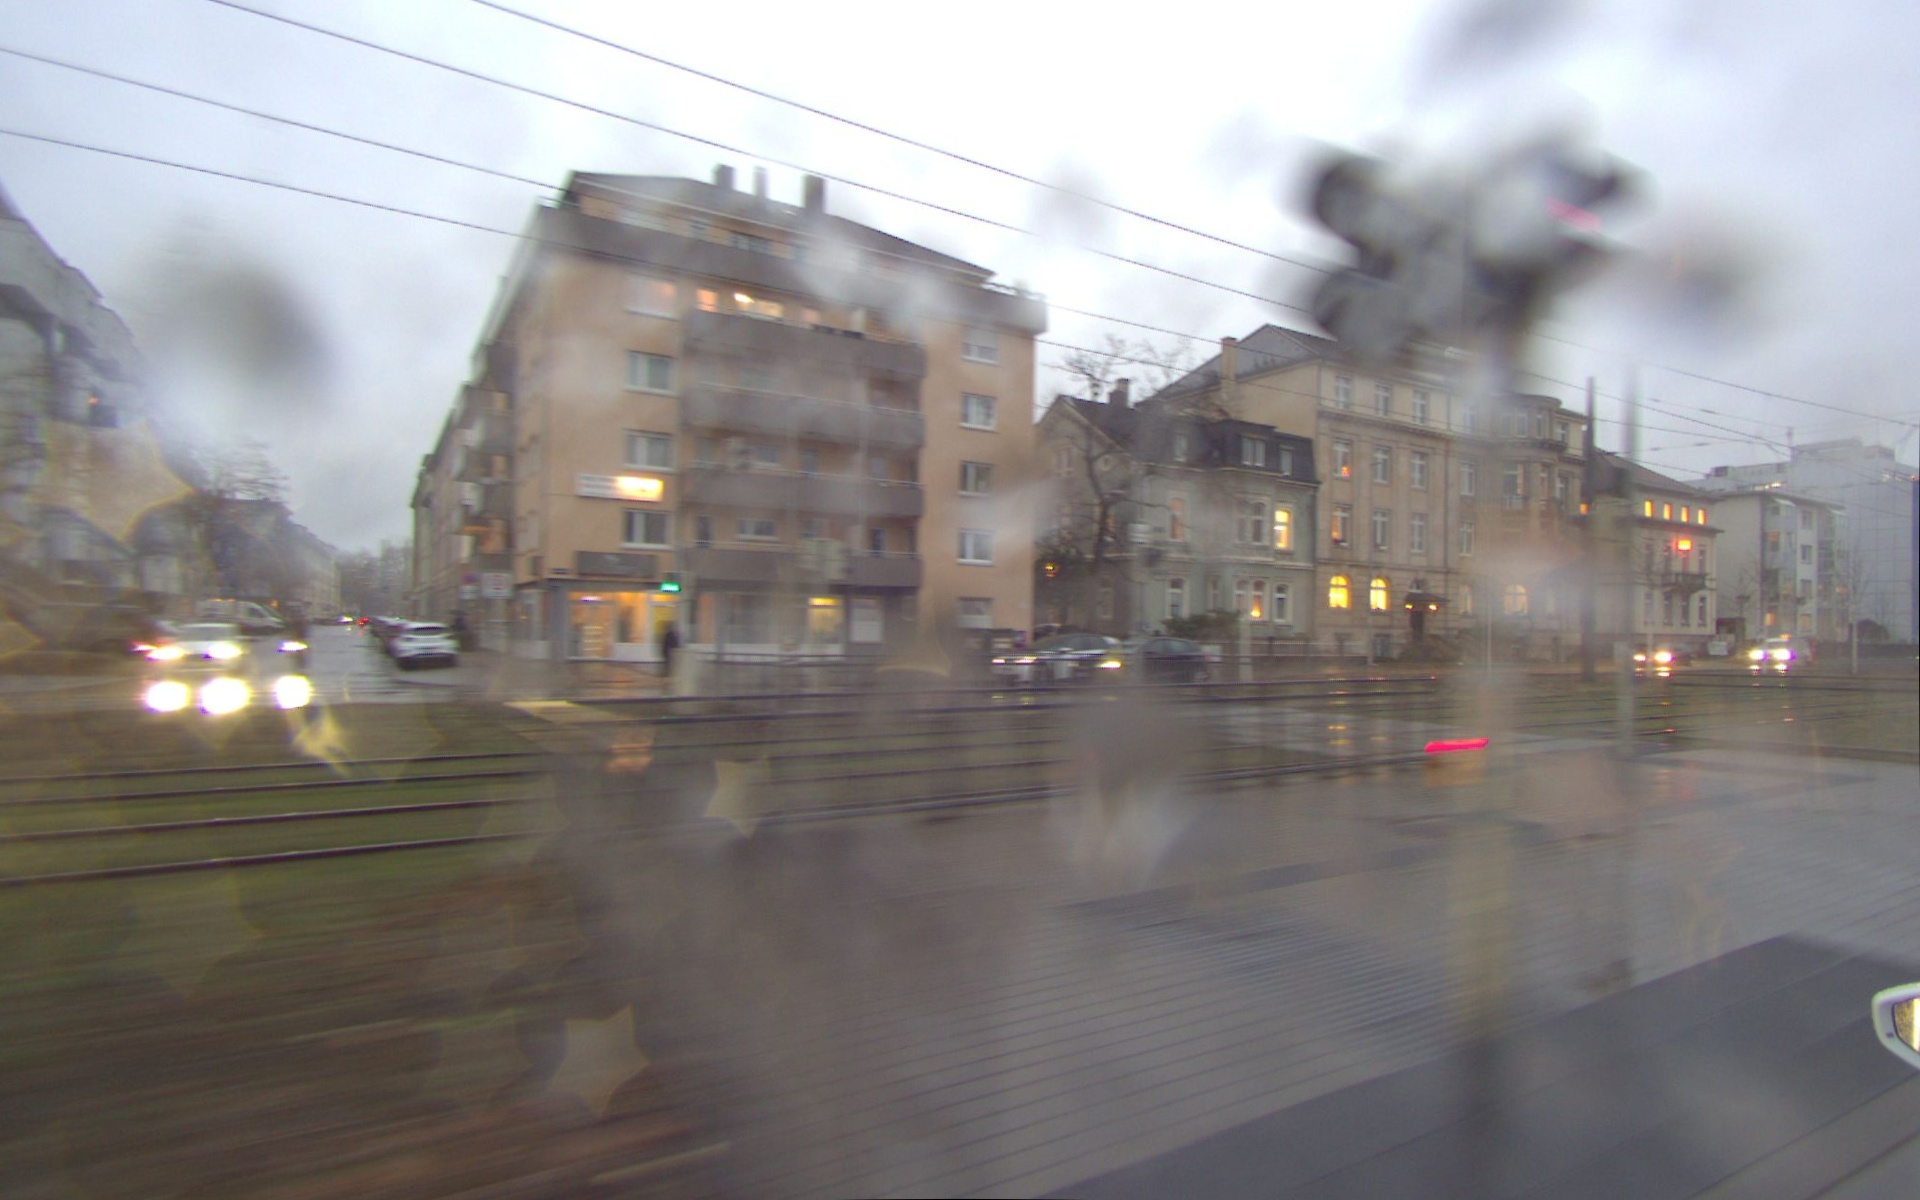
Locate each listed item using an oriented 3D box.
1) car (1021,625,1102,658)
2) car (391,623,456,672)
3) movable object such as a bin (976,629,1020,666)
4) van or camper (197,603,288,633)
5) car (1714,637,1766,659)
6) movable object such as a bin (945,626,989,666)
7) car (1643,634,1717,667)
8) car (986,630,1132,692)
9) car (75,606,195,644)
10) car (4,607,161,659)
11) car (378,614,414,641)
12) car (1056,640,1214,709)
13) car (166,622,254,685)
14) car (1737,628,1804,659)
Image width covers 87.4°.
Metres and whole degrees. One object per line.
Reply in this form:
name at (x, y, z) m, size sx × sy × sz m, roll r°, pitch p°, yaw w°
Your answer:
car at (4.762, 1.948, 47.601) m, size 1.813 × 1.425 × 3.965 m, roll 2°, pitch -1°, yaw -32°
car at (-18.903, 1.641, 35.318) m, size 1.758 × 1.572 × 3.805 m, roll 2°, pitch -1°, yaw -32°
movable object such as a bin at (1.564, 1.932, 41.309) m, size 1.410 × 1.500 × 1.101 m, roll 1°, pitch -2°, yaw -34°
van or camper at (-56.721, 1.415, 79.546) m, size 5.567 × 2.272 × 1.984 m, roll 2°, pitch -1°, yaw -30°
car at (55.612, 3.400, 71.579) m, size 3.886 × 1.455 × 1.795 m, roll 2°, pitch -2°, yaw -34°
movable object such as a bin at (0.273, 1.862, 40.540) m, size 1.410 × 1.581 × 1.101 m, roll 1°, pitch -2°, yaw -34°
car at (39.235, 2.721, 54.726) m, size 4.068 × 1.715 × 1.982 m, roll 1°, pitch -2°, yaw -34°
car at (2.911, 1.769, 29.407) m, size 3.956 × 1.606 × 1.791 m, roll 3°, pitch 0°, yaw -32°
car at (-33.319, 1.010, 40.674) m, size 3.543 × 1.439 × 1.822 m, roll 2°, pitch -1°, yaw -34°
car at (-28.394, 1.072, 32.668) m, size 3.602 × 1.622 × 1.607 m, roll 2°, pitch -1°, yaw -34°
car at (-33.843, 1.625, 60.257) m, size 1.738 × 1.572 × 3.805 m, roll 2°, pitch -1°, yaw -32°
car at (4.708, 1.964, 26.863) m, size 3.956 × 1.606 × 1.791 m, roll 3°, pitch 0°, yaw -32°
car at (-21.698, 1.518, 29.189) m, size 1.667 × 1.531 × 3.964 m, roll 2°, pitch 0°, yaw -32°
car at (52.085, 2.781, 64.515) m, size 4.860 × 1.958 × 1.982 m, roll 1°, pitch -2°, yaw -34°
